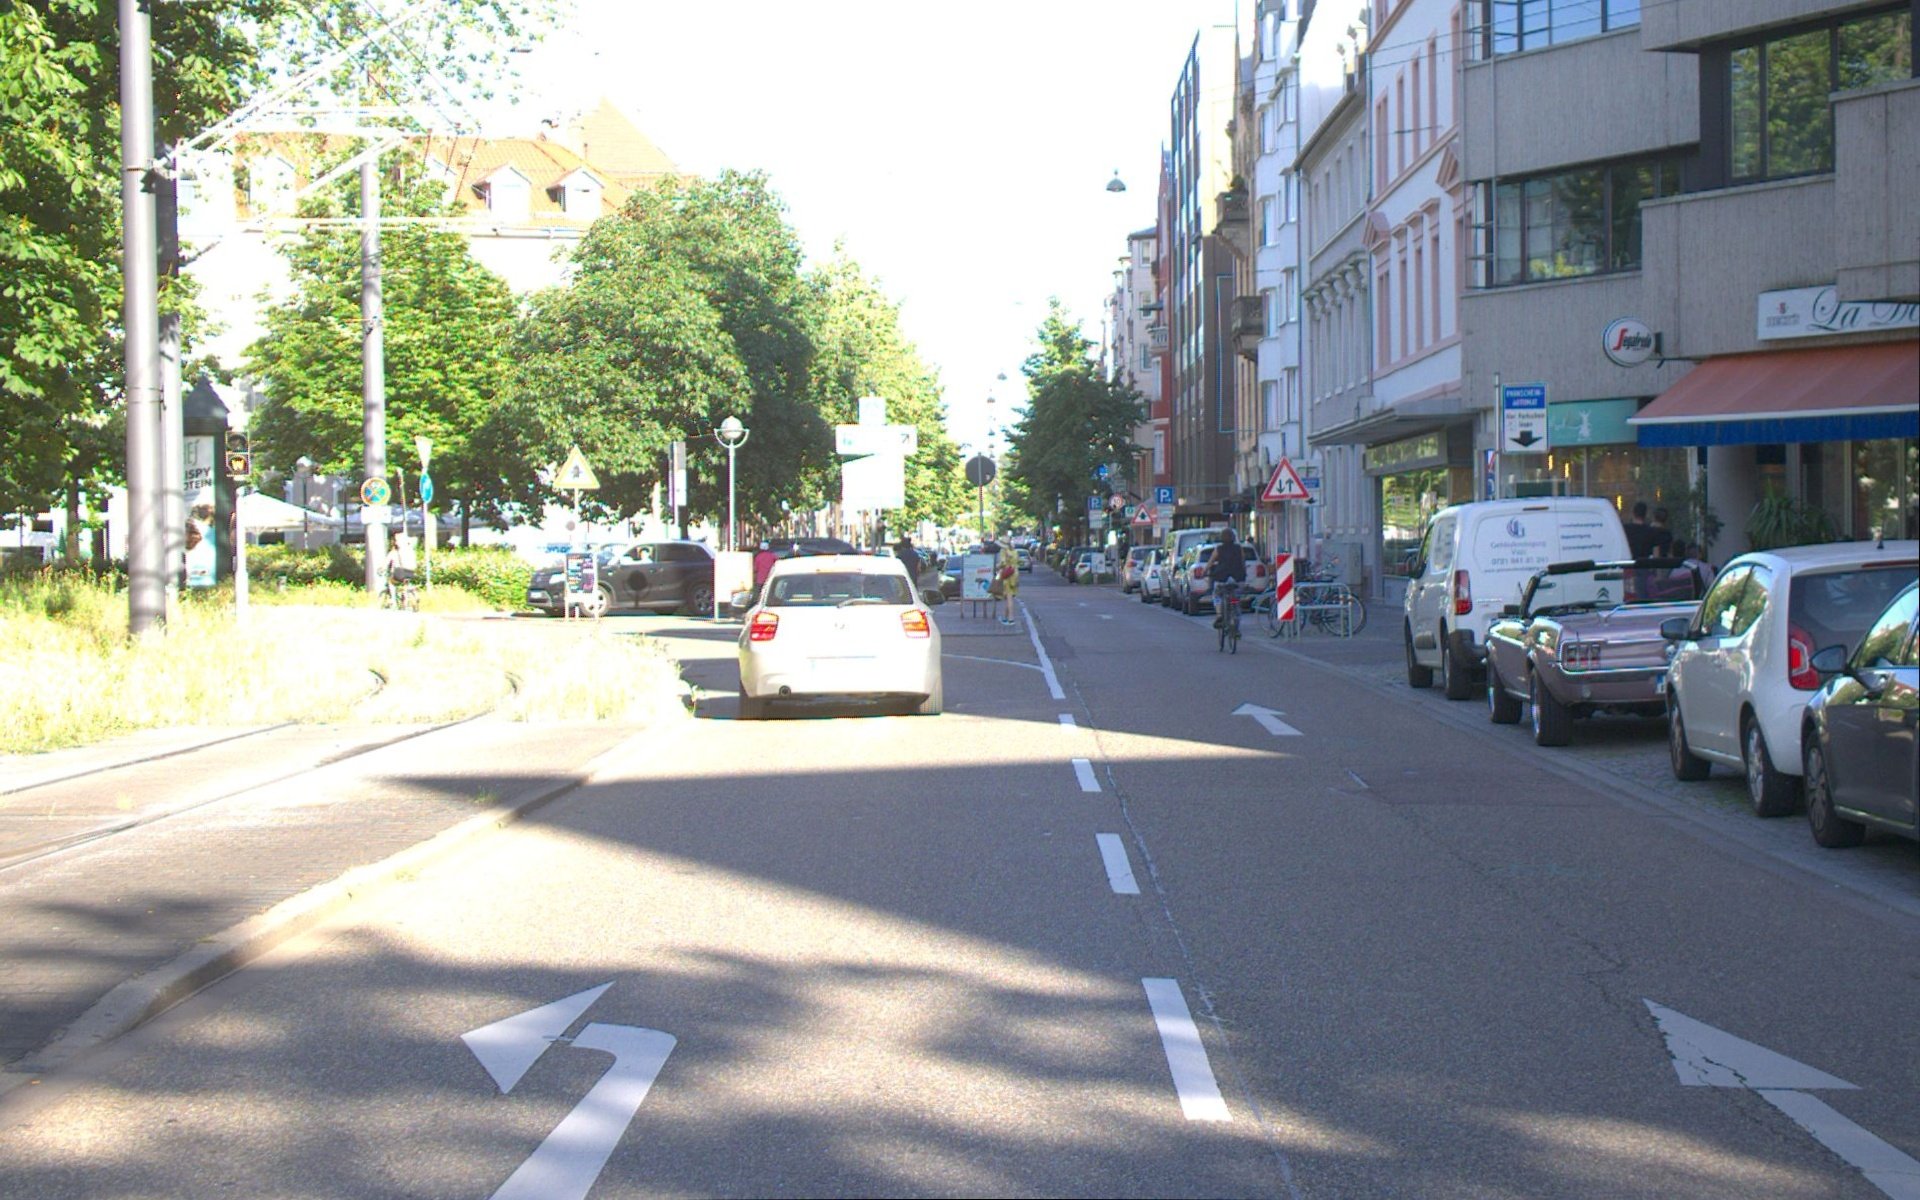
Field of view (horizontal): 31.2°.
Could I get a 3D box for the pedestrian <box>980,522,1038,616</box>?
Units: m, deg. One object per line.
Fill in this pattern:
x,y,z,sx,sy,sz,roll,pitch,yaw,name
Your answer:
0.890,-0.566,62.646,0.804,1.693,0.668,1,0,43,pedestrian

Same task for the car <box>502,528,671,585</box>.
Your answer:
-12.654,-1.474,116.465,5.262,1.794,2.164,1,0,-26,car

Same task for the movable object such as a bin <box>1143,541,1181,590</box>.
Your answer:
6.302,-1.080,107.110,1.073,1.452,1.492,-3,1,6,movable object such as a bin

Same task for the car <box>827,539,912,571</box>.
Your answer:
-4.410,-2.185,167.651,3.987,1.503,1.894,1,0,2,car

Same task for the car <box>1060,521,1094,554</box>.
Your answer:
7.309,-3.893,215.015,1.993,2.007,4.000,0,1,0,car

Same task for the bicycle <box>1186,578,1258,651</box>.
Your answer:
3.565,0.189,46.893,0.652,0.955,2.698,1,0,-2,bicycle

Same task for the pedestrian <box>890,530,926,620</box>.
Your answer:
-0.968,-0.468,64.242,0.636,1.666,0.692,1,0,1,pedestrian

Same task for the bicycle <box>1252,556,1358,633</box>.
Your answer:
5.736,-0.092,57.178,1.623,1.239,0.658,1,0,21,bicycle

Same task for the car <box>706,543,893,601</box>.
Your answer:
-4.418,-0.756,94.709,4.833,1.483,1.765,1,0,-23,car

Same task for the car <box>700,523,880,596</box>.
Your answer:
-4.136,-0.990,83.239,3.986,1.662,2.001,1,1,-15,car

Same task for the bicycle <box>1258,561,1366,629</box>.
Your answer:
5.669,-0.087,55.351,1.680,1.058,0.343,1,0,17,bicycle

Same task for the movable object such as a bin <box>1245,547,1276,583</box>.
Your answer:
9.322,-1.082,106.610,0.876,1.119,0.828,1,0,1,movable object such as a bin

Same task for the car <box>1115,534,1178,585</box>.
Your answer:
6.372,-1.374,117.805,1.899,1.669,4.825,1,0,0,car

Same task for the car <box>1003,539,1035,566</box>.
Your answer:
3.585,-2.864,209.175,1.870,1.550,4.000,1,0,1,car

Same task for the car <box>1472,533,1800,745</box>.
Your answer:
5.083,0.233,26.437,1.774,1.449,4.730,1,1,3,car

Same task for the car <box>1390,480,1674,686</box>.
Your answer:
5.386,-0.154,32.914,1.993,1.806,4.309,1,0,0,car

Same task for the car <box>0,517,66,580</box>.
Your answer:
-32.439,-1.719,113.057,5.574,2.007,1.818,1,0,-26,car

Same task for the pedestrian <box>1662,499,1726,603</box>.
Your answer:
8.871,-0.589,41.548,0.630,1.232,0.624,-2,0,4,pedestrian

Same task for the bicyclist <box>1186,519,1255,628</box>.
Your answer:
3.557,-0.358,47.006,0.786,1.448,1.096,1,0,-2,bicyclist

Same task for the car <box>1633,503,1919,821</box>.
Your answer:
5.278,0.343,20.276,1.851,1.683,3.867,1,0,0,car

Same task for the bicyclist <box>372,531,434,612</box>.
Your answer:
-10.532,-0.531,65.046,0.928,1.502,0.825,1,0,-26,bicyclist

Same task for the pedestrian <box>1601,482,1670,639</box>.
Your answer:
8.159,-0.475,41.543,0.671,1.850,0.610,-2,0,4,pedestrian

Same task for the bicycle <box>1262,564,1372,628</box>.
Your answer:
5.789,-0.070,55.715,1.705,1.001,0.427,1,0,17,bicycle

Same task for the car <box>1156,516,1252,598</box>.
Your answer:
6.128,-1.099,86.892,1.993,1.998,5.118,0,1,-1,car

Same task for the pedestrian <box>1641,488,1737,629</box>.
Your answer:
9.001,-0.514,42.452,0.841,1.704,0.720,-3,1,-27,pedestrian

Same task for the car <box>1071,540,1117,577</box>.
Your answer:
6.201,-1.898,158.823,1.994,1.612,4.009,1,0,3,car

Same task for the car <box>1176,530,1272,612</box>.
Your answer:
5.837,-0.623,76.434,1.745,1.733,4.960,1,0,0,car

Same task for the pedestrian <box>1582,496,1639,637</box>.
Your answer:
8.016,-0.407,42.371,0.583,1.708,0.697,1,0,4,pedestrian

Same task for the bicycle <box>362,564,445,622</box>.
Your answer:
-10.546,-0.131,65.050,0.809,1.065,2.583,1,0,-26,bicycle

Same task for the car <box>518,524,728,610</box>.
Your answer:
-6.778,-0.660,69.279,3.860,1.676,1.811,-1,0,-42,car

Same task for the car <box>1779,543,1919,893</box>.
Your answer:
5.063,0.527,16.012,1.671,1.513,4.199,1,0,3,car

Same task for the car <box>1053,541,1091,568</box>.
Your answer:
6.221,-2.544,191.229,1.993,1.448,4.000,0,1,0,car

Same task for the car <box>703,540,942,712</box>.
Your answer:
-1.186,0.224,31.159,1.993,1.418,4.197,1,0,-1,car

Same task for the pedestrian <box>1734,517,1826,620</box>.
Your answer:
10.538,-0.399,44.188,0.841,1.288,0.831,-2,0,-11,pedestrian

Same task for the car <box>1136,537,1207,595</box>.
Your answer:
5.932,-0.946,96.607,1.718,1.510,3.583,-2,0,0,car
